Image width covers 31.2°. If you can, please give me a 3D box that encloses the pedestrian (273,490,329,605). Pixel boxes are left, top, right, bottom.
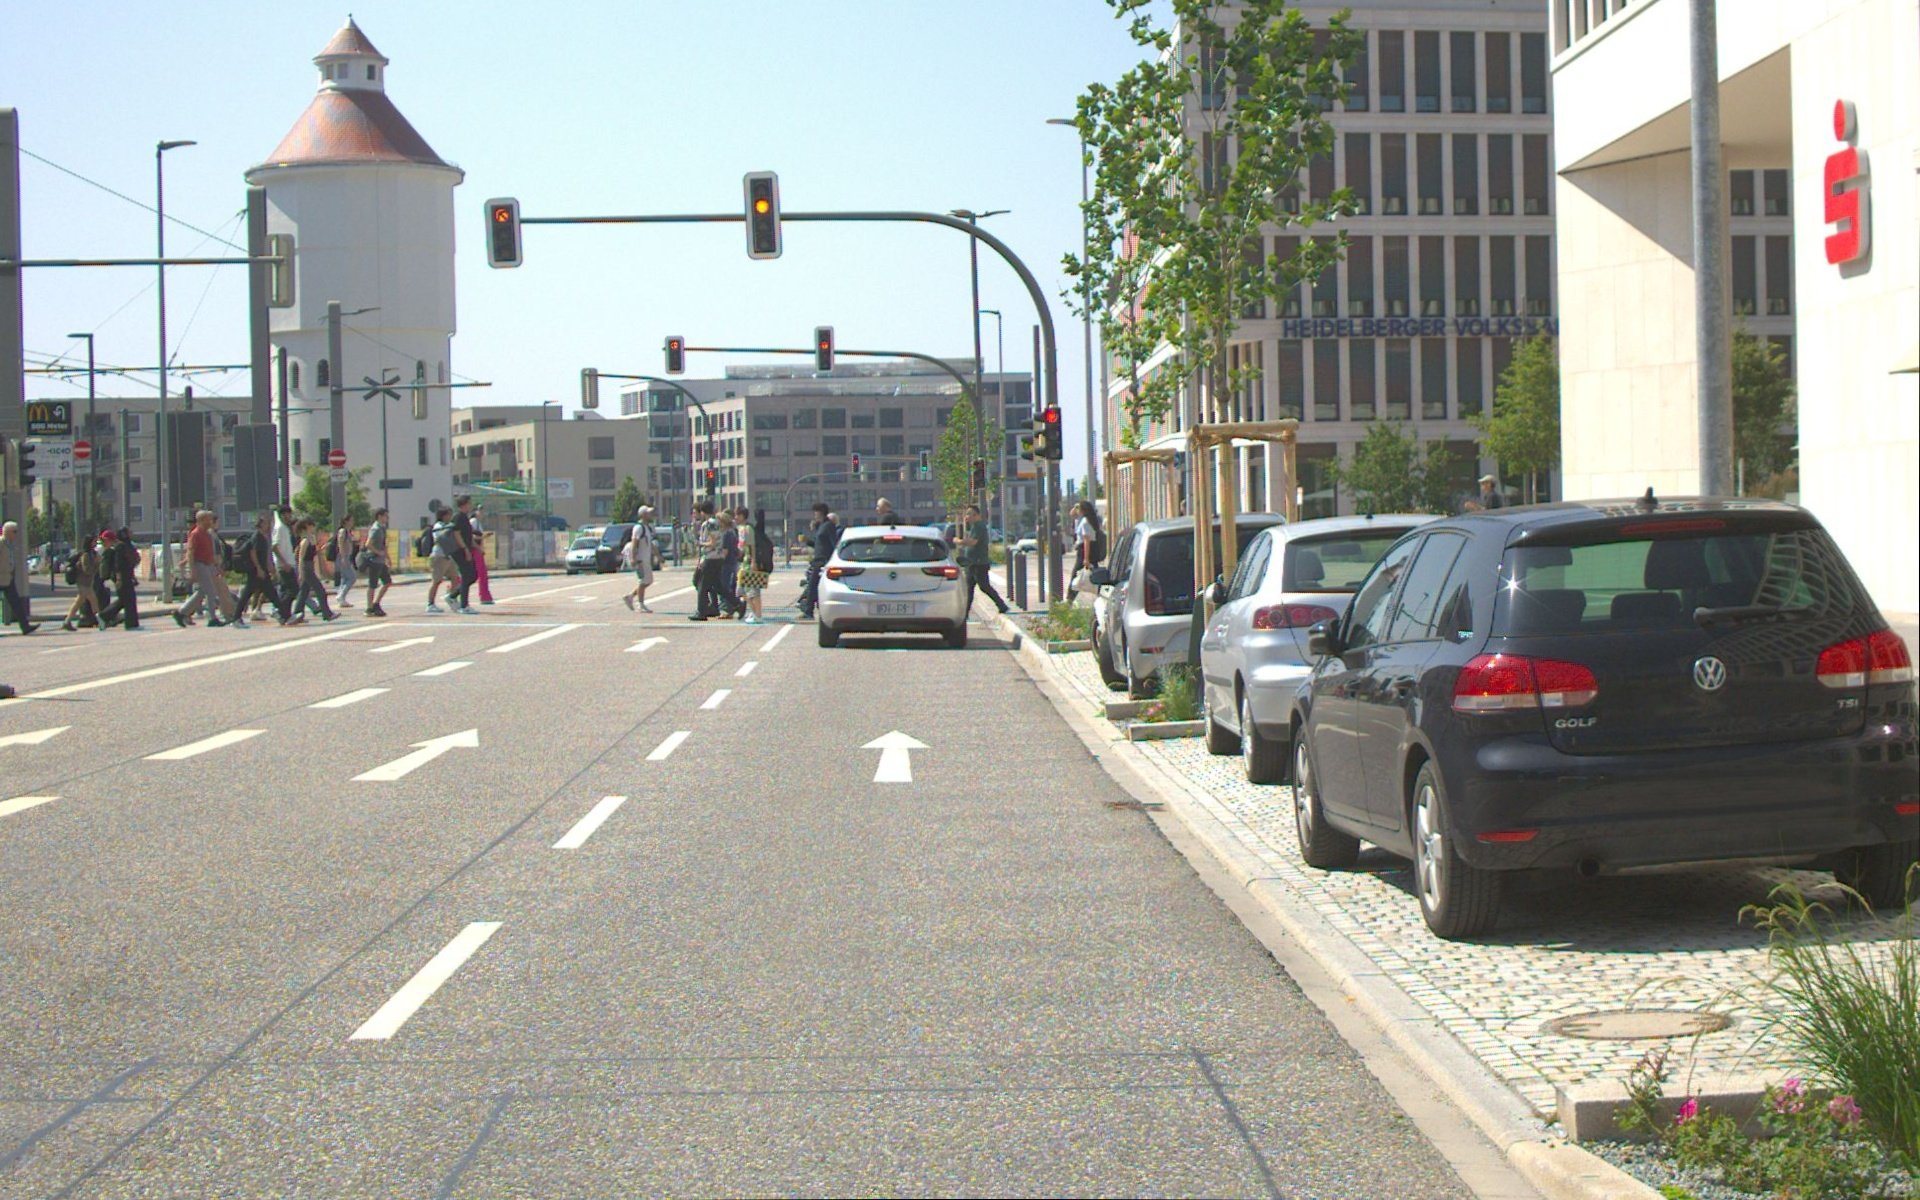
[{"bbox_3d":[-10.847,-0.862,56.595,0.734,1.884,0.713,0,1,4],"label":"pedestrian"}]

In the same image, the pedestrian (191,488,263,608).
[{"bbox_3d":[-12.594,-0.898,59.027,1.020,2.006,0.955,-3,2,-19],"label":"pedestrian"}]

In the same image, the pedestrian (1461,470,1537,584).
[{"bbox_3d":[8.030,-1.091,51.257,0.990,1.649,0.692,-2,2,1],"label":"pedestrian"}]

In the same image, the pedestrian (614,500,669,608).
[{"bbox_3d":[-5.203,-0.764,56.261,0.766,1.728,0.692,-2,2,0],"label":"pedestrian"}]

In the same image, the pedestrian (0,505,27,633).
[{"bbox_3d":[-14.451,-0.463,51.538,0.636,1.883,0.796,-2,2,1],"label":"pedestrian"}]

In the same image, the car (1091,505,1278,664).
[{"bbox_3d":[2.119,-0.198,33.254,1.429,1.385,4.001,-2,2,-1],"label":"car"}]

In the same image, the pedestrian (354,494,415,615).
[{"bbox_3d":[-9.122,-0.732,54.528,0.766,1.883,0.692,-2,2,0],"label":"pedestrian"}]

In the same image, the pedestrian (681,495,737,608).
[{"bbox_3d":[-3.932,-0.765,53.878,0.766,1.728,0.692,-2,2,0],"label":"pedestrian"}]

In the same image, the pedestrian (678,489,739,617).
[{"bbox_3d":[-3.798,-0.716,51.953,0.730,1.883,0.821,-2,2,5],"label":"pedestrian"}]

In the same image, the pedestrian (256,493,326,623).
[{"bbox_3d":[-9.997,-0.632,51.374,0.887,1.883,0.692,-2,2,-5],"label":"pedestrian"}]

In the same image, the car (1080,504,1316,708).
[{"bbox_3d":[1.915,-0.002,28.527,1.556,1.467,3.470,-4,2,-1],"label":"car"}]

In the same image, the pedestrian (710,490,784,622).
[{"bbox_3d":[-3.121,-0.649,50.443,1.013,1.883,0.798,-2,2,-3],"label":"pedestrian"}]

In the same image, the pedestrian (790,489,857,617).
[{"bbox_3d":[-2.054,-0.709,51.519,0.887,1.883,0.796,-2,2,-5],"label":"pedestrian"}]

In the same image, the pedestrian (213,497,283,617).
[{"bbox_3d":[-11.430,-0.698,55.186,0.888,1.883,0.796,-2,2,-1],"label":"pedestrian"}]

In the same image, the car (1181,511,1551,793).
[{"bbox_3d":[2.313,0.232,20.443,1.605,1.383,3.815,-4,2,-1],"label":"car"}]

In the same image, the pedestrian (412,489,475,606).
[{"bbox_3d":[-8.457,-0.863,56.335,0.841,1.883,0.692,-2,2,0],"label":"pedestrian"}]

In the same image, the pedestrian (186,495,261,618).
[{"bbox_3d":[-11.578,-0.687,54.069,0.888,1.883,0.796,-2,2,4],"label":"pedestrian"}]

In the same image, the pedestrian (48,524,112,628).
[{"bbox_3d":[-13.729,-0.378,53.644,0.728,1.570,0.641,-2,2,4],"label":"pedestrian"}]

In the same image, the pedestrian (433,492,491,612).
[{"bbox_3d":[-8.010,-0.779,55.327,0.766,1.883,0.692,-2,2,0],"label":"pedestrian"}]

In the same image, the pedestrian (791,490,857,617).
[{"bbox_3d":[-2.077,-0.712,52.369,0.887,1.883,0.796,-2,2,-5],"label":"pedestrian"}]

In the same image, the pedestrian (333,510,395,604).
[{"bbox_3d":[-10.743,-0.778,61.986,0.888,1.641,0.796,-2,2,3],"label":"pedestrian"}]

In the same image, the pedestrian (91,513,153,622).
[{"bbox_3d":[-12.696,-0.501,52.072,0.633,1.612,0.768,-2,2,5],"label":"pedestrian"}]

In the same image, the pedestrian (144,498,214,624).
[{"bbox_3d":[-11.915,-0.598,52.492,0.887,1.883,0.692,-2,2,-5],"label":"pedestrian"}]

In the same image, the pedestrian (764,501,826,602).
[{"bbox_3d":[-2.755,-0.811,57.485,0.888,1.641,0.796,-2,2,3],"label":"pedestrian"}]

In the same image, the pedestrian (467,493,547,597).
[{"bbox_3d":[-8.167,-0.998,62.079,1.181,1.814,1.068,-2,2,3],"label":"pedestrian"}]

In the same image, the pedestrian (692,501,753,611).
[{"bbox_3d":[-3.647,-0.682,52.840,0.794,1.641,0.891,-2,2,1],"label":"pedestrian"}]

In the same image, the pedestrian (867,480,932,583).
[{"bbox_3d":[-0.999,-1.119,56.276,0.887,1.641,0.796,-2,2,-10],"label":"pedestrian"}]

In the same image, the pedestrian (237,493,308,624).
[{"bbox_3d":[-10.110,-0.616,50.599,0.887,1.883,0.692,-2,2,-5],"label":"pedestrian"}]

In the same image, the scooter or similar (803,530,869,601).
[{"bbox_3d":[-2.037,-0.576,56.481,0.950,1.114,0.767,-2,2,-10],"label":"scooter or similar"}]

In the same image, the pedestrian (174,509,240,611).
[{"bbox_3d":[-12.667,-0.683,57.817,0.893,1.668,1.013,-3,2,-19],"label":"pedestrian"}]

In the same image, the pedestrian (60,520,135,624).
[{"bbox_3d":[-13.968,-0.464,55.699,0.911,1.631,0.814,-2,2,4],"label":"pedestrian"}]

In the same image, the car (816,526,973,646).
[{"bbox_3d":[-0.761,-0.173,41.912,1.771,1.390,3.532,0,0,1],"label":"car"}]

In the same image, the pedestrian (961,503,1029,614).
[{"bbox_3d":[0.522,-0.624,51.629,0.887,1.629,0.692,-2,2,-5],"label":"pedestrian"}]

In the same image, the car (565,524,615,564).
[{"bbox_3d":[-14.584,-2.198,135.563,1.586,1.525,3.258,-1,1,0],"label":"car"}]

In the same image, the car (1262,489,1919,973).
[{"bbox_3d":[2.282,0.367,13.139,1.736,1.469,3.981,-3,2,-1],"label":"car"}]

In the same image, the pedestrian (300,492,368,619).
[{"bbox_3d":[-9.508,-0.685,52.218,0.887,1.883,0.692,-2,2,-5],"label":"pedestrian"}]

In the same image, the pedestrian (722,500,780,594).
[{"bbox_3d":[-3.712,-0.949,61.128,0.888,1.641,0.796,-2,2,3],"label":"pedestrian"}]

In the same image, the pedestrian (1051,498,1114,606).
[{"bbox_3d":[1.872,-0.740,52.527,0.767,1.614,0.691,-2,2,16],"label":"pedestrian"}]

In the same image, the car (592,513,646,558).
[{"bbox_3d":[-11.763,-2.214,118.702,1.586,1.525,3.693,-1,1,-2],"label":"car"}]
